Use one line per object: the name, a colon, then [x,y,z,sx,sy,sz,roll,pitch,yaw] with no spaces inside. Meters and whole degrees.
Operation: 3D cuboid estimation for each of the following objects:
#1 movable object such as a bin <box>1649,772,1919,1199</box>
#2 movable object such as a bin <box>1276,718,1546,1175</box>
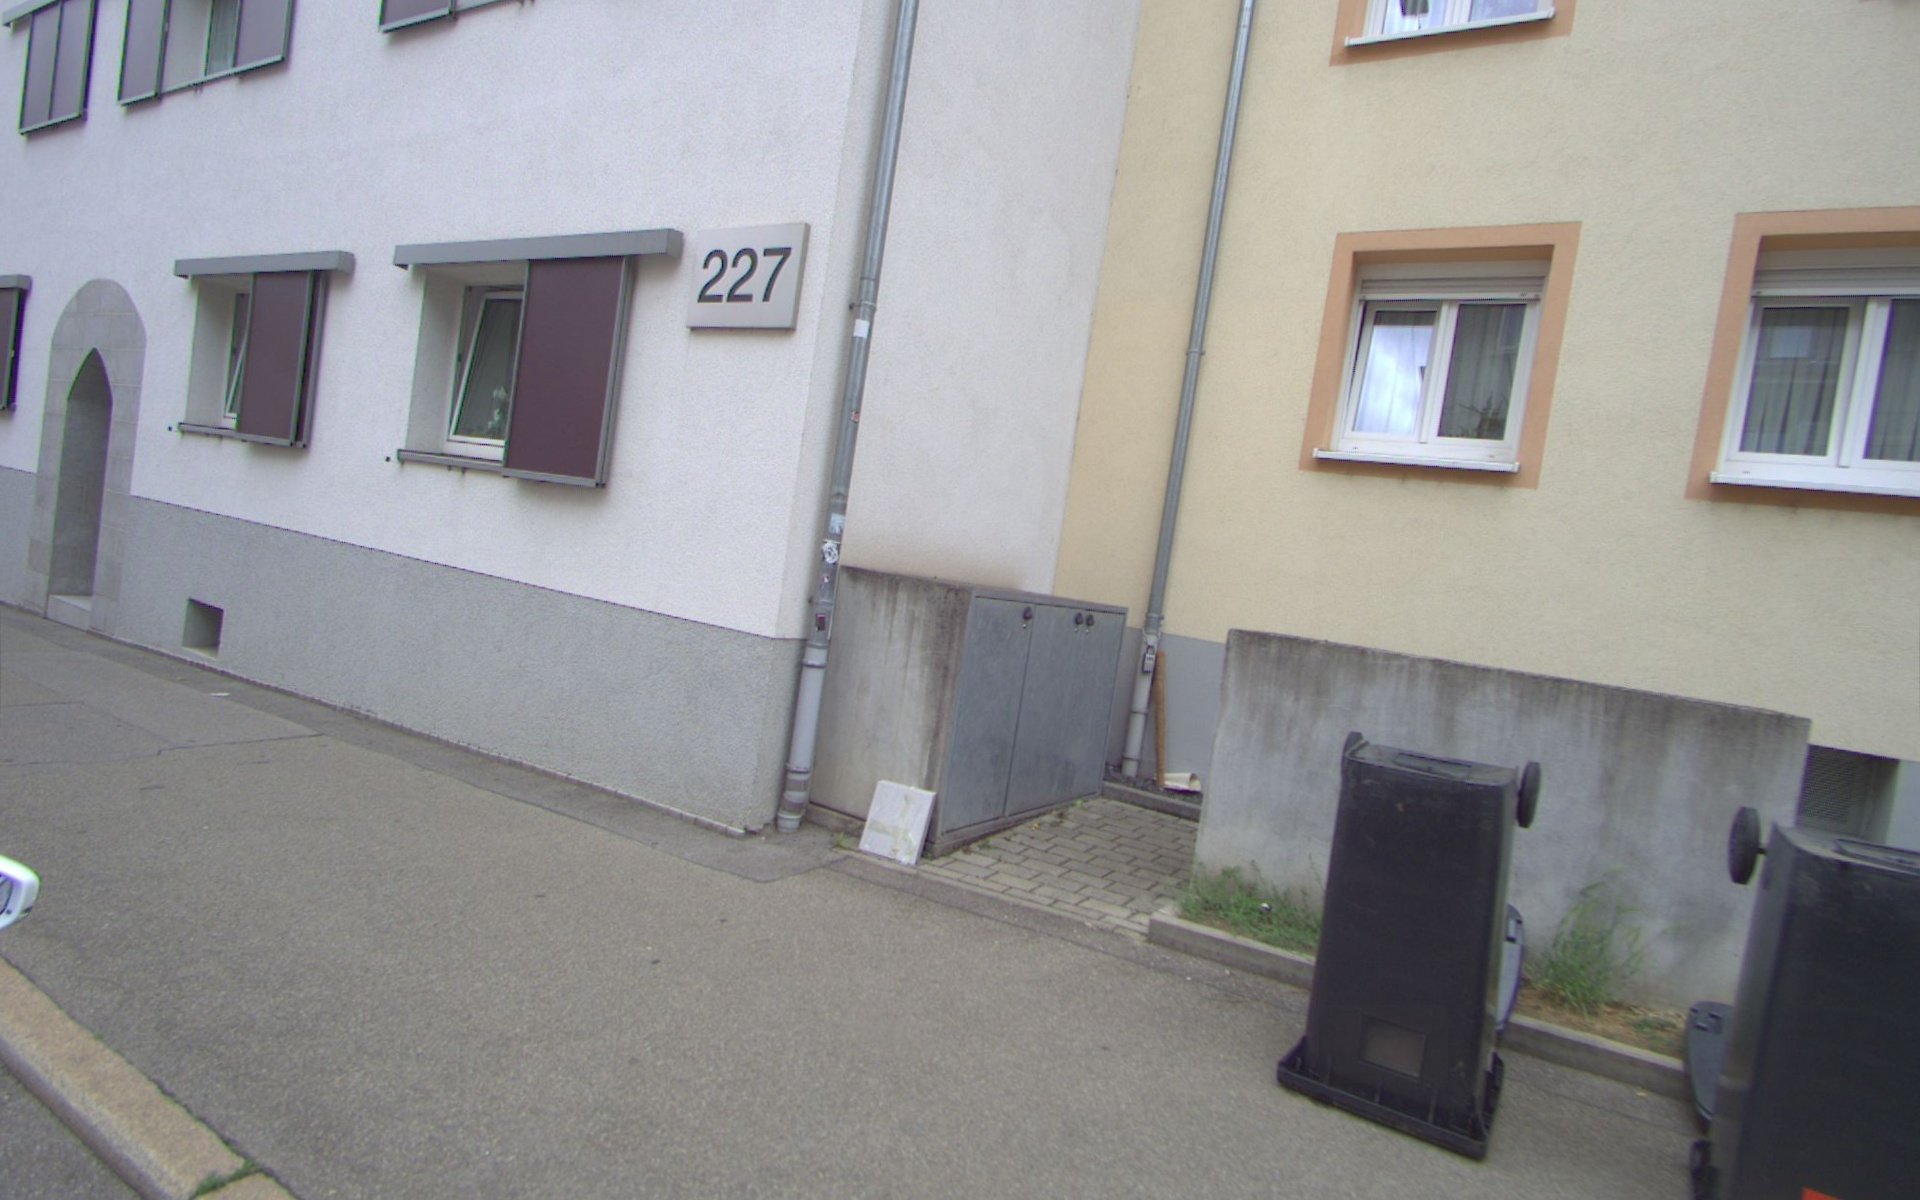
movable object such as a bin: [2.106,1.033,2.357,0.680,1.093,0.589,7,1,33]
movable object such as a bin: [1.366,0.950,3.014,0.533,1.093,0.611,7,1,33]
